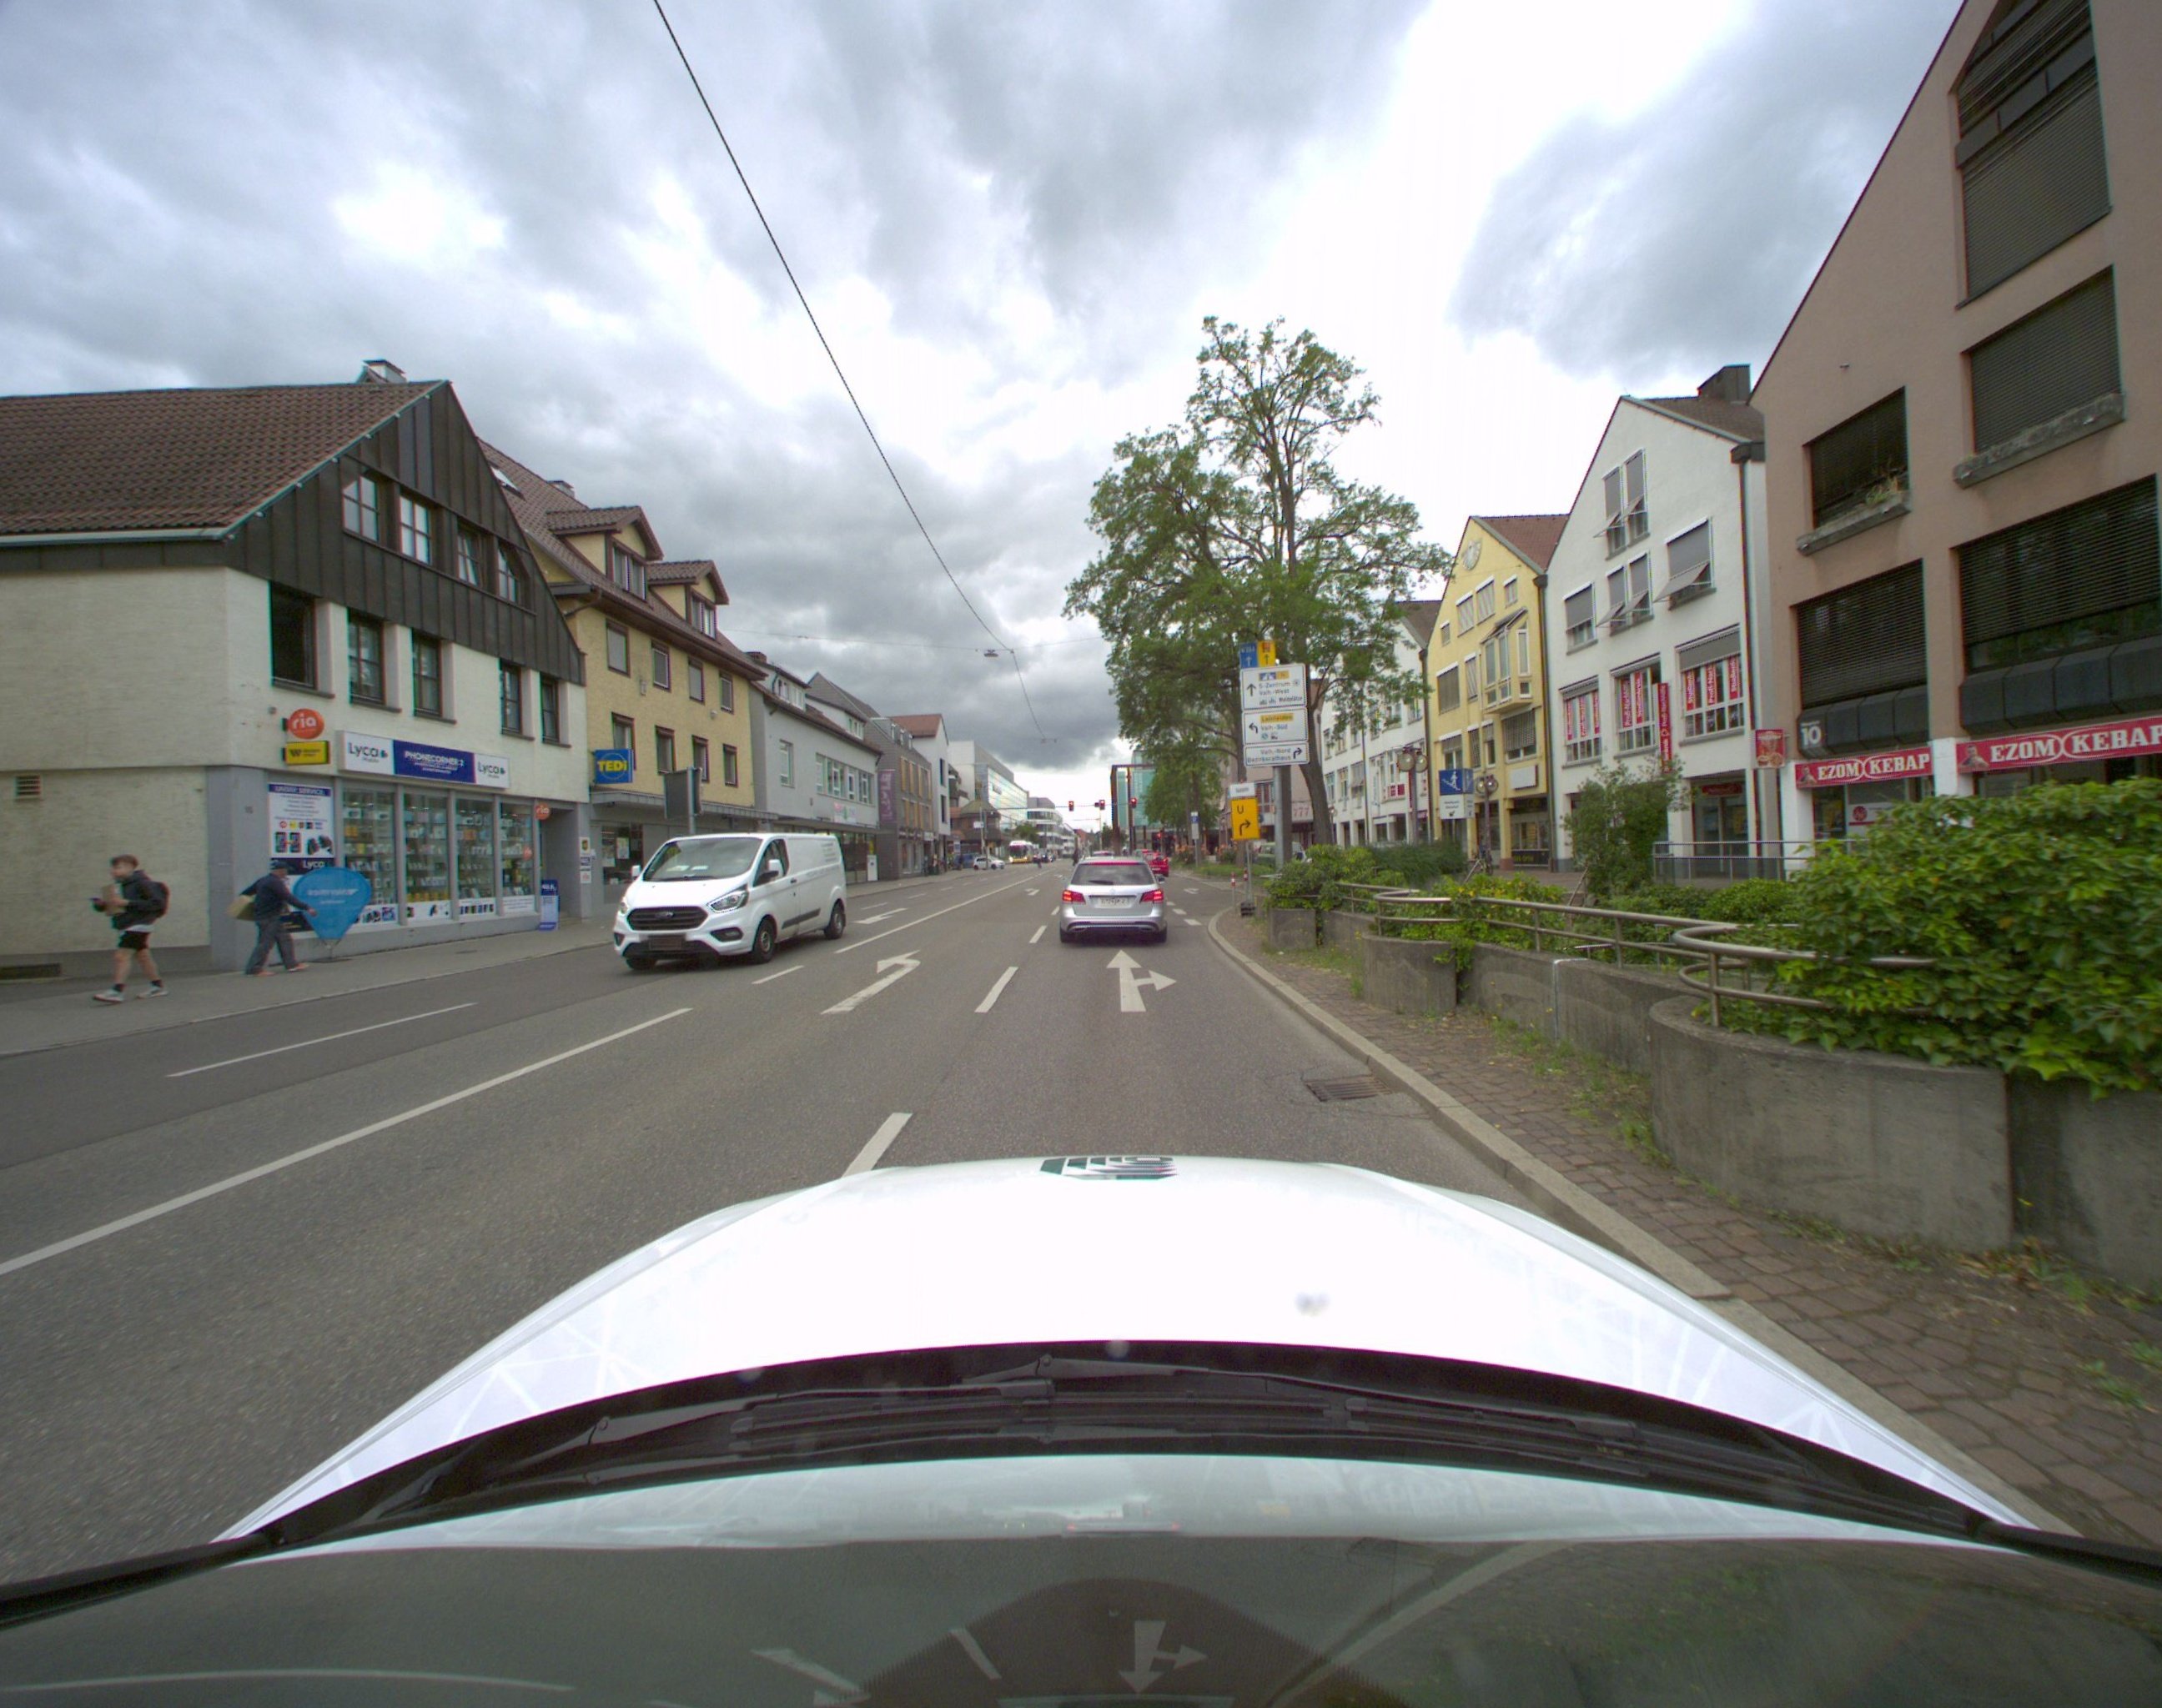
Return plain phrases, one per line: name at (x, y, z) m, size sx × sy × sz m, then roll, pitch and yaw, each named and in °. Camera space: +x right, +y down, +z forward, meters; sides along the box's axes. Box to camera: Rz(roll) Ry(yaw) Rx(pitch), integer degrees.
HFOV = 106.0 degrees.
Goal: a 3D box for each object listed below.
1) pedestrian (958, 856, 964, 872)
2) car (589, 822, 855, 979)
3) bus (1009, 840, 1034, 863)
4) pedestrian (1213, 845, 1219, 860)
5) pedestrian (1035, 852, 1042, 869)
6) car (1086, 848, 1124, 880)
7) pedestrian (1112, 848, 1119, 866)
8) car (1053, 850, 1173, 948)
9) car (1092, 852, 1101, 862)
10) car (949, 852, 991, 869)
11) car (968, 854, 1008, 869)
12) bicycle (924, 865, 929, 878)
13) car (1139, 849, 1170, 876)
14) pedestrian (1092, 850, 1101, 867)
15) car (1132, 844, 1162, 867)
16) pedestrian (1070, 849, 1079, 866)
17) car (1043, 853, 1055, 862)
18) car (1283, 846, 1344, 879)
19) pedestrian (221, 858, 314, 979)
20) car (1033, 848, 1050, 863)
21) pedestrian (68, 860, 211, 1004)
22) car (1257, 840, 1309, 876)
pedestrian at (-12.164, 1.006, 82.746) m, size 0.586 × 1.670 × 0.639 m, roll 1°, pitch 1°, yaw -12°
car at (-5.472, 0.622, 13.381) m, size 1.955 × 1.960 × 5.139 m, roll -4°, pitch 0°, yaw 0°
bus at (-8.624, -0.325, 118.678) m, size 2.765 × 3.165 × 5.935 m, roll -2°, pitch 0°, yaw 2°
pedestrian at (14.741, -0.120, 88.778) m, size 0.608 × 1.634 × 0.590 m, roll 1°, pitch 0°, yaw 14°
pedestrian at (-4.039, 0.622, 77.805) m, size 0.612 × 1.634 × 0.586 m, roll 1°, pitch 0°, yaw -8°
car at (1.382, 0.554, 46.643) m, size 1.986 × 1.684 × 4.002 m, roll -2°, pitch 0°, yaw 2°
pedestrian at (3.306, 0.291, 78.187) m, size 0.611 × 1.634 × 0.587 m, roll 1°, pitch 0°, yaw -2°
car at (0.499, 0.724, 14.969) m, size 1.868 × 1.506 × 3.999 m, roll -2°, pitch 0°, yaw -1°
car at (3.483, 0.683, 184.943) m, size 1.986 × 2.013 × 4.001 m, roll -2°, pitch 0°, yaw 1°
car at (-13.620, 0.776, 100.085) m, size 4.912 × 1.823 × 1.992 m, roll -2°, pitch 0°, yaw -12°
car at (-10.201, 0.826, 89.347) m, size 3.950 × 1.530 × 1.676 m, roll -2°, pitch 0°, yaw 27°
bicycle at (-11.328, 1.293, 59.721) m, size 0.273 × 0.891 × 1.225 m, roll -2°, pitch 0°, yaw -8°
car at (4.503, 0.538, 50.110) m, size 1.747 × 1.521 × 4.003 m, roll -3°, pitch -2°, yaw 4°
pedestrian at (1.480, 0.400, 79.571) m, size 0.831 × 1.634 × 0.587 m, roll 1°, pitch 0°, yaw -3°
car at (5.043, 0.108, 62.662) m, size 1.986 × 1.684 × 4.002 m, roll -2°, pitch 0°, yaw 2°
pedestrian at (-0.628, 0.377, 79.732) m, size 0.854 × 1.634 × 0.588 m, roll 1°, pitch 0°, yaw 3°
car at (-5.017, 0.556, 127.968) m, size 1.569 × 1.244 × 3.608 m, roll -2°, pitch 0°, yaw 2°
car at (11.616, 0.390, 40.988) m, size 1.861 × 1.527 × 3.998 m, roll -2°, pitch 0°, yaw -1°
pedestrian at (-12.399, 0.940, 12.444) m, size 0.809 × 1.746 × 0.861 m, roll 1°, pitch 0°, yaw -31°
car at (-5.655, 0.222, 117.452) m, size 1.986 × 2.013 × 4.002 m, roll -2°, pitch 0°, yaw 2°
pedestrian at (-11.977, 0.961, 10.392) m, size 0.865 × 1.746 × 0.805 m, roll 1°, pitch 0°, yaw -4°
car at (11.392, 0.211, 46.261) m, size 1.861 × 1.864 × 3.999 m, roll -2°, pitch 0°, yaw -1°
